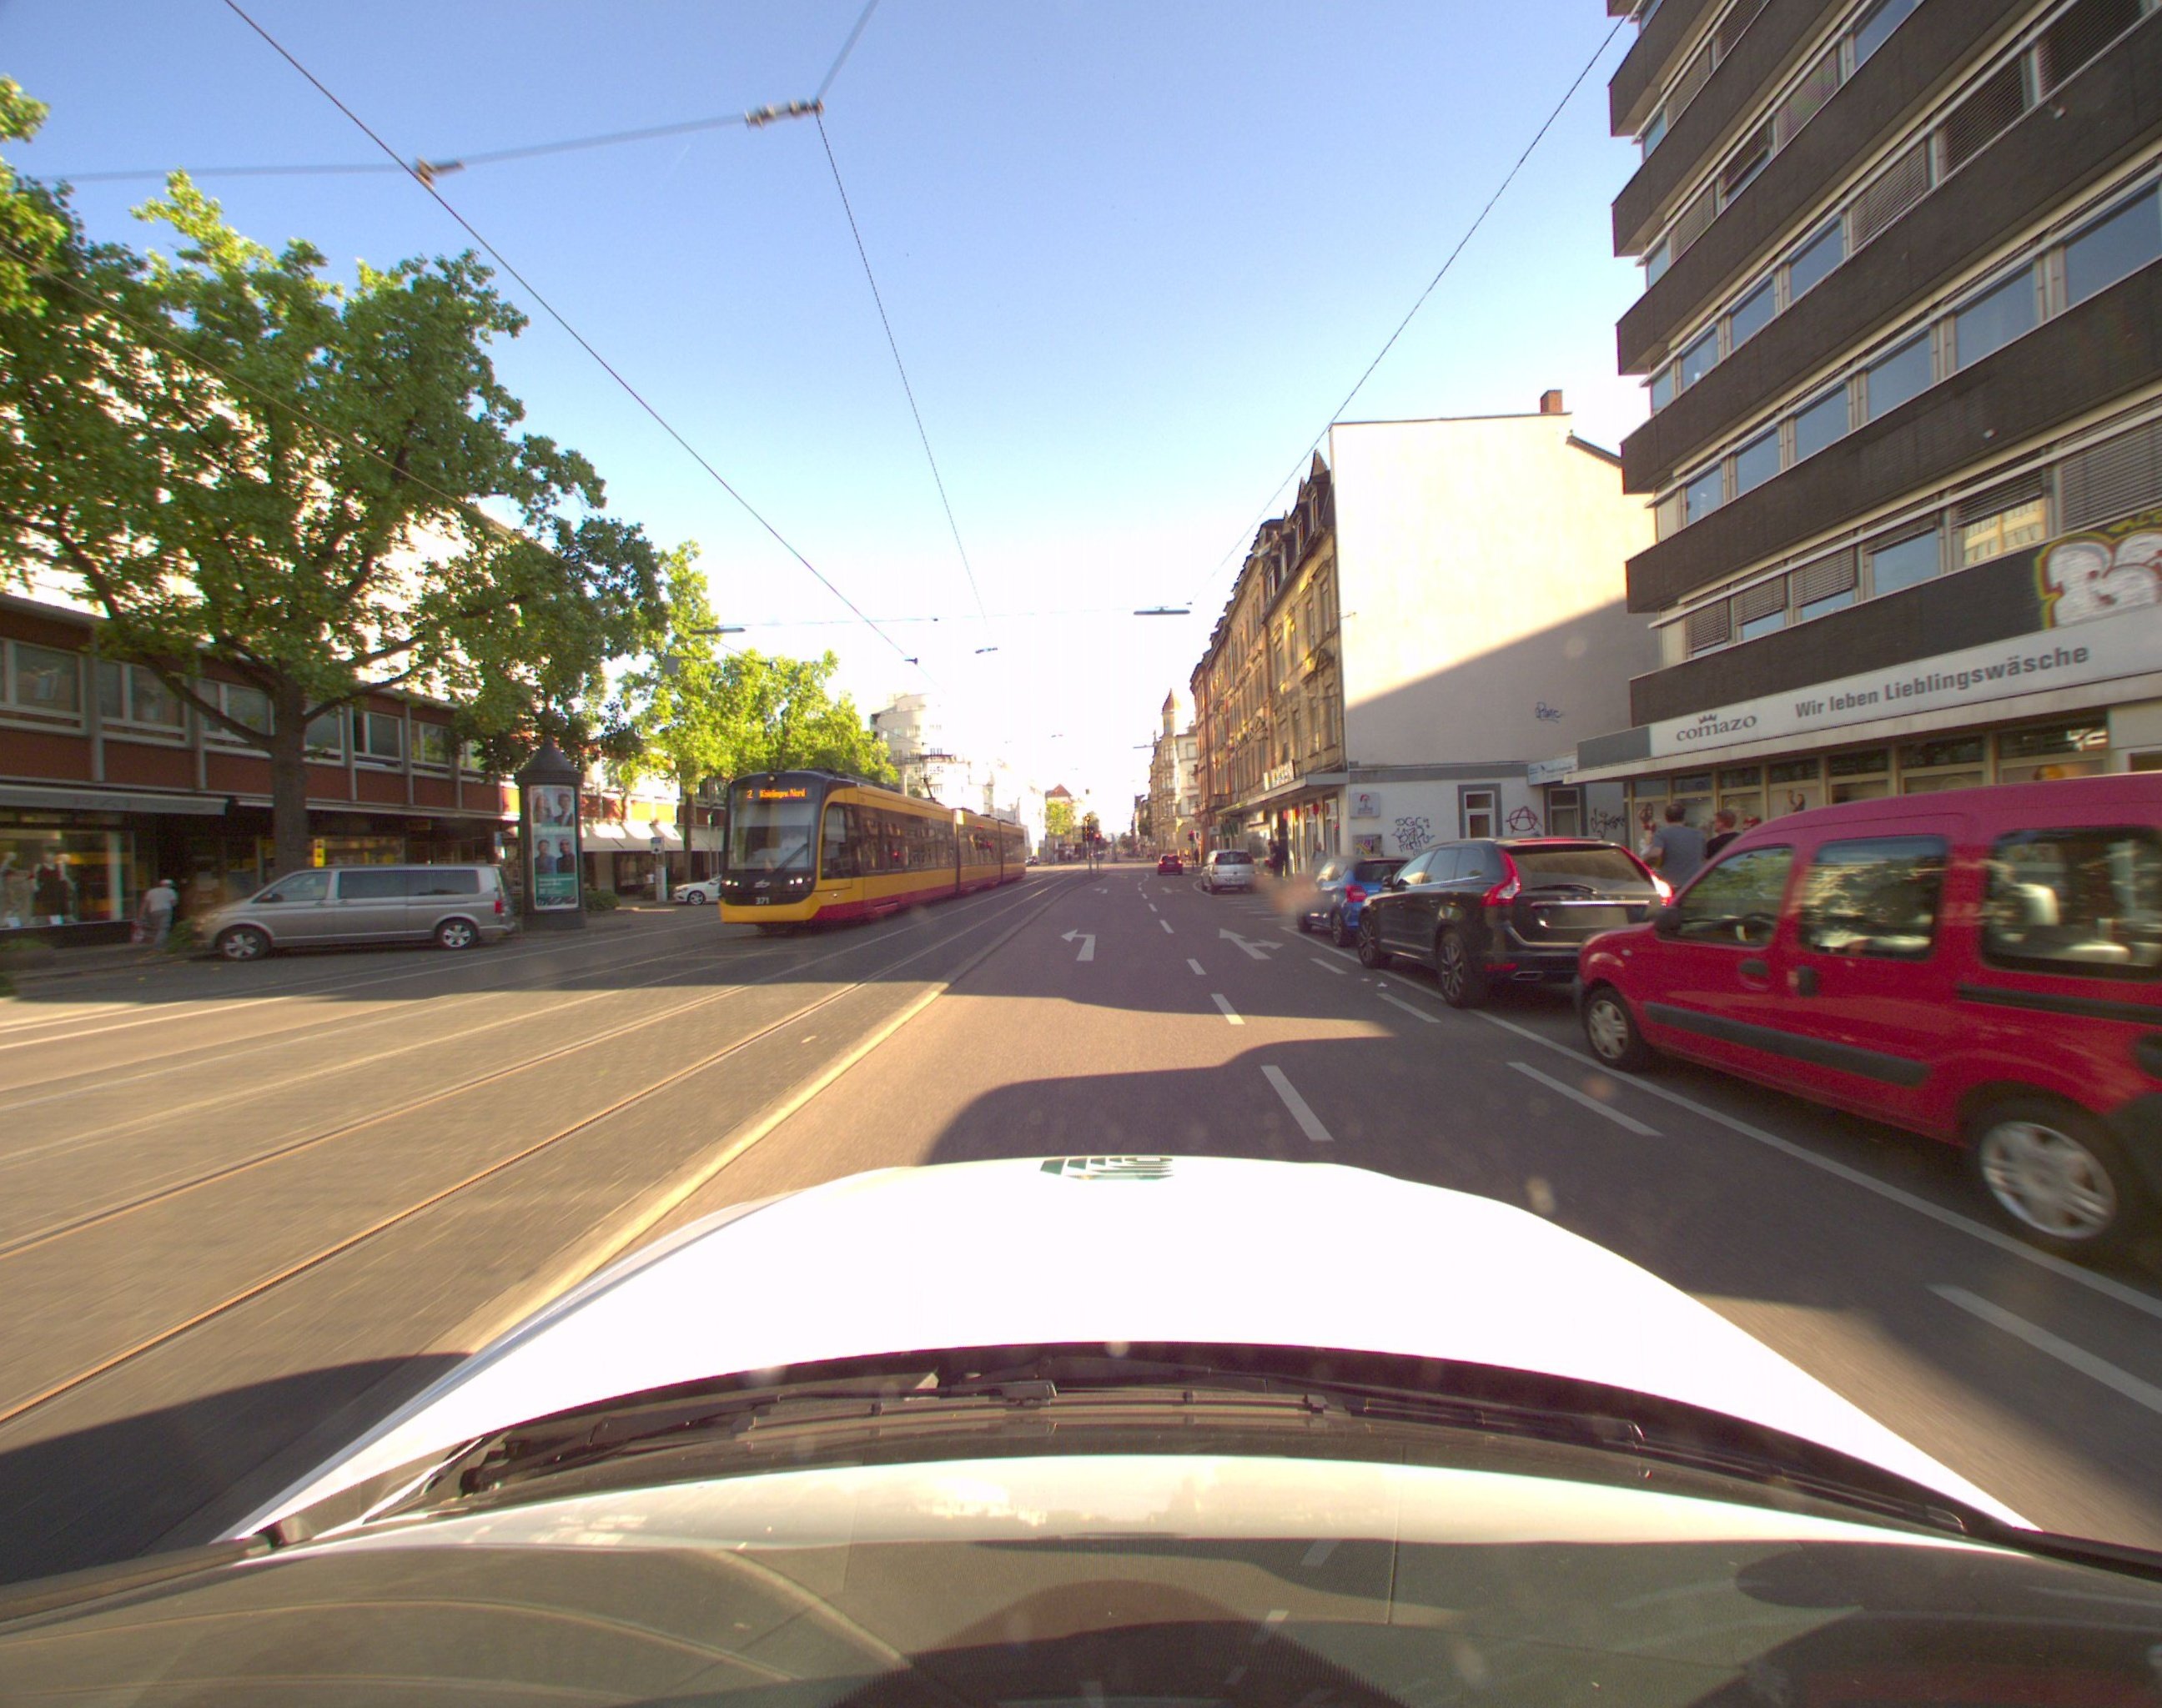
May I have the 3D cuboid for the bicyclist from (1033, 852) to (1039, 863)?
[{"bbox_3d":[-7.295,0.486,130.714,0.804,1.726,0.795,-3,0,2],"label":"bicyclist"}]

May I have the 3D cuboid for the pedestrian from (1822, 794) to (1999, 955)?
[{"bbox_3d":[9.654,0.226,9.530,0.897,1.713,1.033,-5,0,2],"label":"pedestrian"}]

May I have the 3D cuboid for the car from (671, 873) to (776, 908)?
[{"bbox_3d":[-16.349,1.627,37.268,4.280,1.429,1.750,-1,-1,-28],"label":"car"}]

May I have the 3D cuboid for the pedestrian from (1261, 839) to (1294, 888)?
[{"bbox_3d":[7.446,0.344,30.911,0.943,1.792,1.055,-3,0,2],"label":"pedestrian"}]

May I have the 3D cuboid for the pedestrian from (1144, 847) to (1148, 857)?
[{"bbox_3d":[13.442,-0.412,168.808,0.574,2.013,0.632,-2,0,9],"label":"pedestrian"}]

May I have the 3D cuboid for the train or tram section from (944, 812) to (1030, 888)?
[{"bbox_3d":[-4.956,-0.185,45.714,2.665,3.551,12.849,-3,0,2],"label":"train or tram section"}]

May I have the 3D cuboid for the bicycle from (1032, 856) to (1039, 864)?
[{"bbox_3d":[-7.288,0.936,130.482,0.804,1.147,2.051,-3,0,3],"label":"bicycle"}]

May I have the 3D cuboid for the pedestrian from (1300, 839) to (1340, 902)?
[{"bbox_3d":[6.984,0.483,23.840,0.784,1.737,0.946,-5,-1,2],"label":"pedestrian"}]

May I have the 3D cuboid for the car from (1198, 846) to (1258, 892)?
[{"bbox_3d":[5.575,0.542,31.227,1.632,1.615,3.946,-2,0,1],"label":"car"}]

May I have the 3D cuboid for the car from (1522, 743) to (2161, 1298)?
[{"bbox_3d":[4.400,0.527,4.527,1.669,1.808,4.250,-2,0,2],"label":"car"}]

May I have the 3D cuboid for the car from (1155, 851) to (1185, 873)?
[{"bbox_3d":[6.258,0.541,57.723,1.748,1.466,3.946,-1,0,1],"label":"car"}]

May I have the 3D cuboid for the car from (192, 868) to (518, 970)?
[{"bbox_3d":[-15.798,1.321,18.191,5.136,1.929,1.836,0,-1,-30],"label":"car"}]

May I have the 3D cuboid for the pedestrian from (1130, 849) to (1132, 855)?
[{"bbox_3d":[15.687,-0.688,255.234,0.575,1.887,0.670,-2,0,3],"label":"pedestrian"}]

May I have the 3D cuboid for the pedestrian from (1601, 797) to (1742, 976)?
[{"bbox_3d":[6.704,0.351,9.315,0.790,1.899,1.033,-3,0,2],"label":"pedestrian"}]

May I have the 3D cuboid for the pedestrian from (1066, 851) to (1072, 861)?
[{"bbox_3d":[-2.428,0.399,160.853,1.041,2.013,0.959,-2,0,0],"label":"pedestrian"}]

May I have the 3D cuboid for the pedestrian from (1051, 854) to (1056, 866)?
[{"bbox_3d":[-4.243,0.911,126.115,0.765,1.730,0.573,-2,0,5],"label":"pedestrian"}]

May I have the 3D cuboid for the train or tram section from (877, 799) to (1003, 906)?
[{"bbox_3d":[-5.417,-0.051,33.730,2.665,3.551,11.133,-3,0,2],"label":"train or tram section"}]

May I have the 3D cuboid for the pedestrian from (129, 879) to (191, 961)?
[{"bbox_3d":[-22.258,1.572,19.698,0.889,1.878,0.925,-3,0,41],"label":"pedestrian"}]

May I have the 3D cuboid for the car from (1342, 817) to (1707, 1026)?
[{"bbox_3d":[4.527,0.576,9.240,1.813,1.757,4.478,-1,0,2],"label":"car"}]

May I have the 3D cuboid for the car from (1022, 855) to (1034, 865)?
[{"bbox_3d":[-9.523,1.058,146.755,1.694,1.718,3.566,-3,0,2],"label":"car"}]

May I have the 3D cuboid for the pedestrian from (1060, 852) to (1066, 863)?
[{"bbox_3d":[-3.402,0.586,153.836,0.952,2.013,1.049,-3,0,3],"label":"pedestrian"}]

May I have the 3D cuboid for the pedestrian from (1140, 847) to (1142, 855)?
[{"bbox_3d":[15.546,-0.779,211.060,0.575,2.013,0.631,-2,0,3],"label":"pedestrian"}]

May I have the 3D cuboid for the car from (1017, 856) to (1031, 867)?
[{"bbox_3d":[-9.383,1.223,133.713,1.758,1.546,3.464,-3,0,4],"label":"car"}]

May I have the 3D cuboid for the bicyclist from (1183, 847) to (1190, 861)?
[{"bbox_3d":[11.186,0.024,86.389,0.417,1.409,0.663,-3,0,35],"label":"bicyclist"}]

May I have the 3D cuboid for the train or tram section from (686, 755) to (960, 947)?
[{"bbox_3d":[-5.898,-0.049,21.896,2.748,3.551,12.474,-3,0,2],"label":"train or tram section"}]

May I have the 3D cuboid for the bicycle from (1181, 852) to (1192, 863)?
[{"bbox_3d":[11.186,0.406,86.360,0.417,1.096,1.422,-3,0,35],"label":"bicycle"}]

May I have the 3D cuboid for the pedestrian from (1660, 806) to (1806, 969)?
[{"bbox_3d":[7.558,0.369,9.497,0.807,1.756,1.033,-3,0,2],"label":"pedestrian"}]

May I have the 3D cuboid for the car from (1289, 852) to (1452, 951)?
[{"bbox_3d":[4.963,0.731,14.516,1.632,1.492,3.796,0,1,1],"label":"car"}]

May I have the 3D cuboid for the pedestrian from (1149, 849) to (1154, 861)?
[{"bbox_3d":[11.500,0.162,132.489,0.649,2.013,0.760,-2,0,2],"label":"pedestrian"}]
